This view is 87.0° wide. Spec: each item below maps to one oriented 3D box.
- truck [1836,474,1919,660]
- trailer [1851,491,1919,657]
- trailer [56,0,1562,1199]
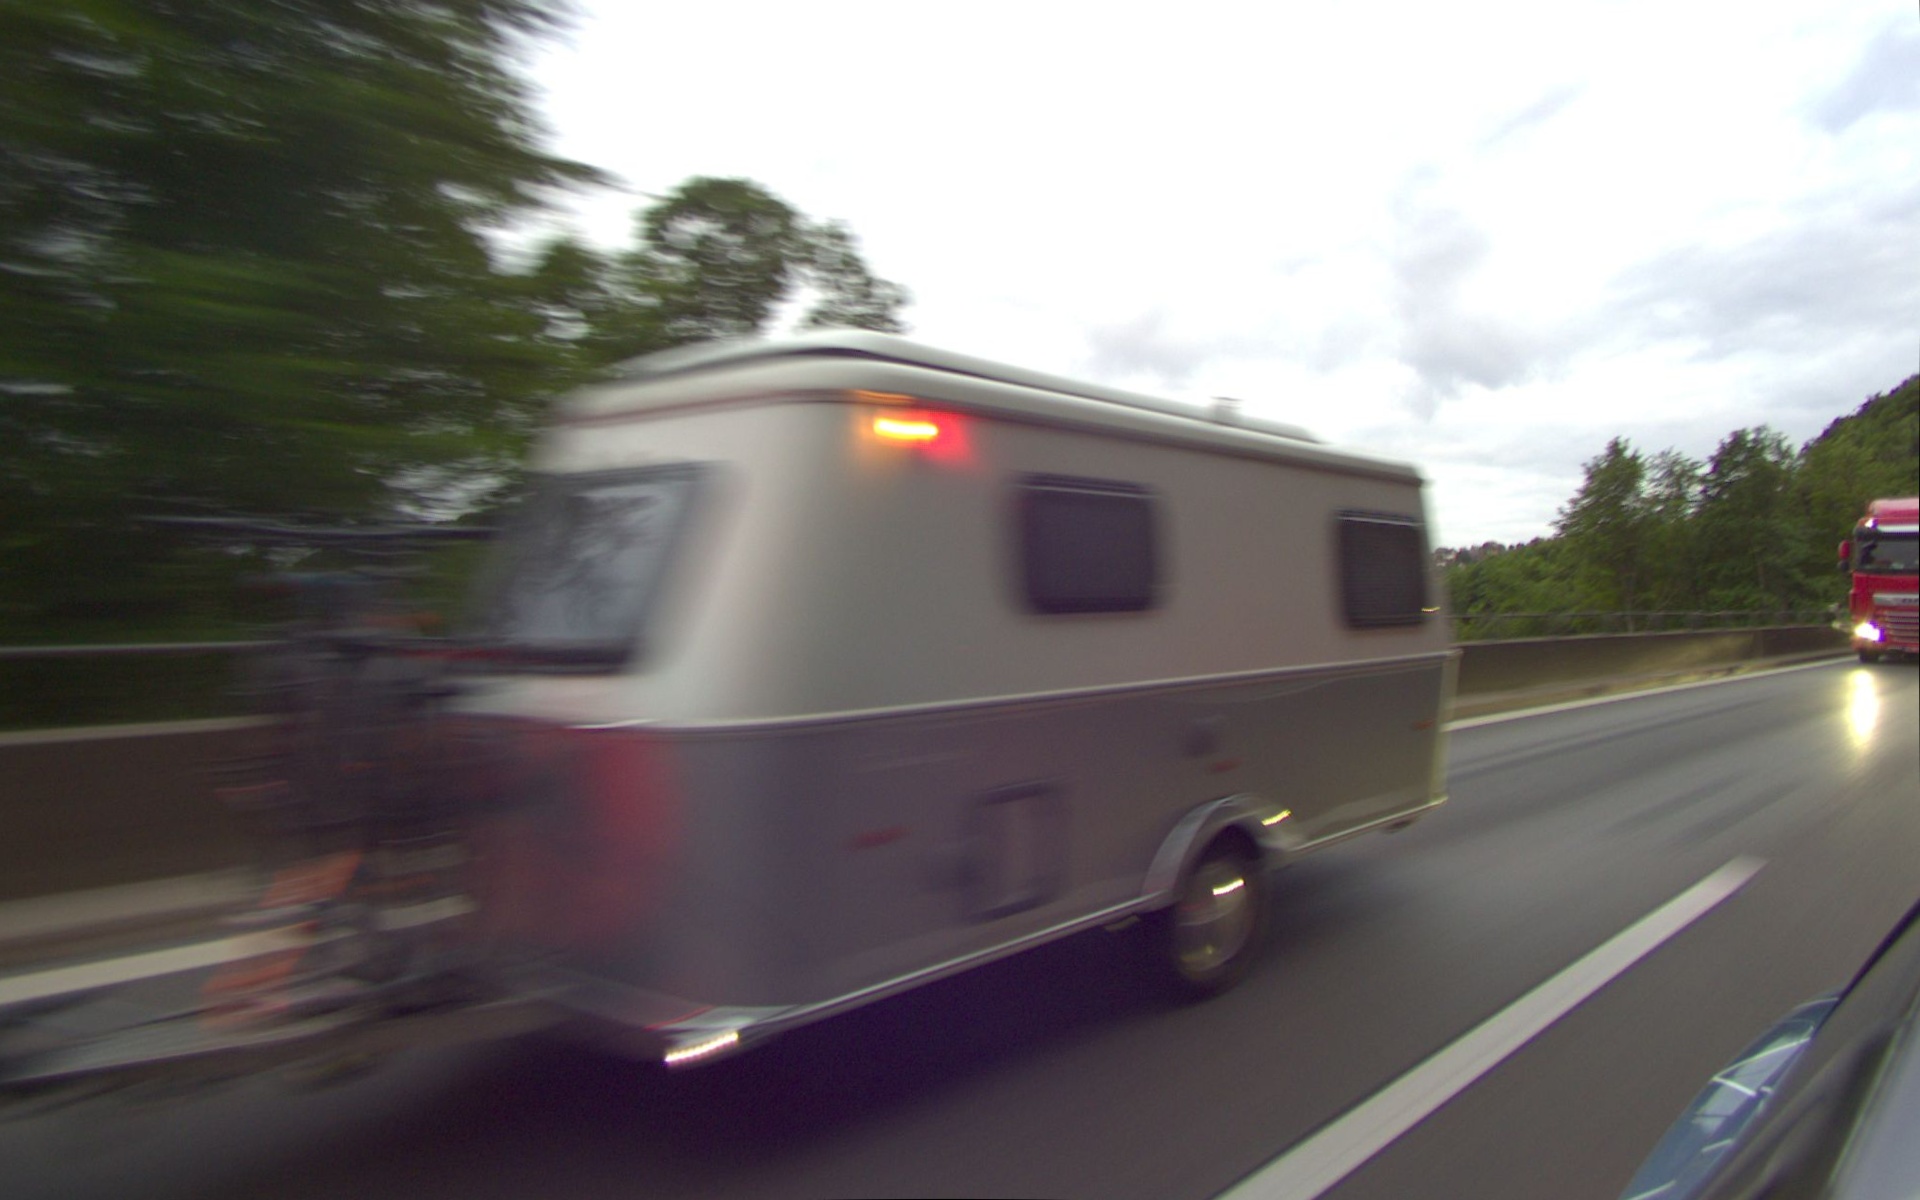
[{"bbox_3d":[24.134,-0.761,24.748,6.333,4.198,3.074,0,-1,-40],"label":"truck"},{"bbox_3d":[28.856,-0.579,28.674,13.960,4.021,3.104,1,-1,-39],"label":"trailer"},{"bbox_3d":[0.208,0.233,4.237,5.831,2.406,2.058,0,-2,-39],"label":"trailer"}]
